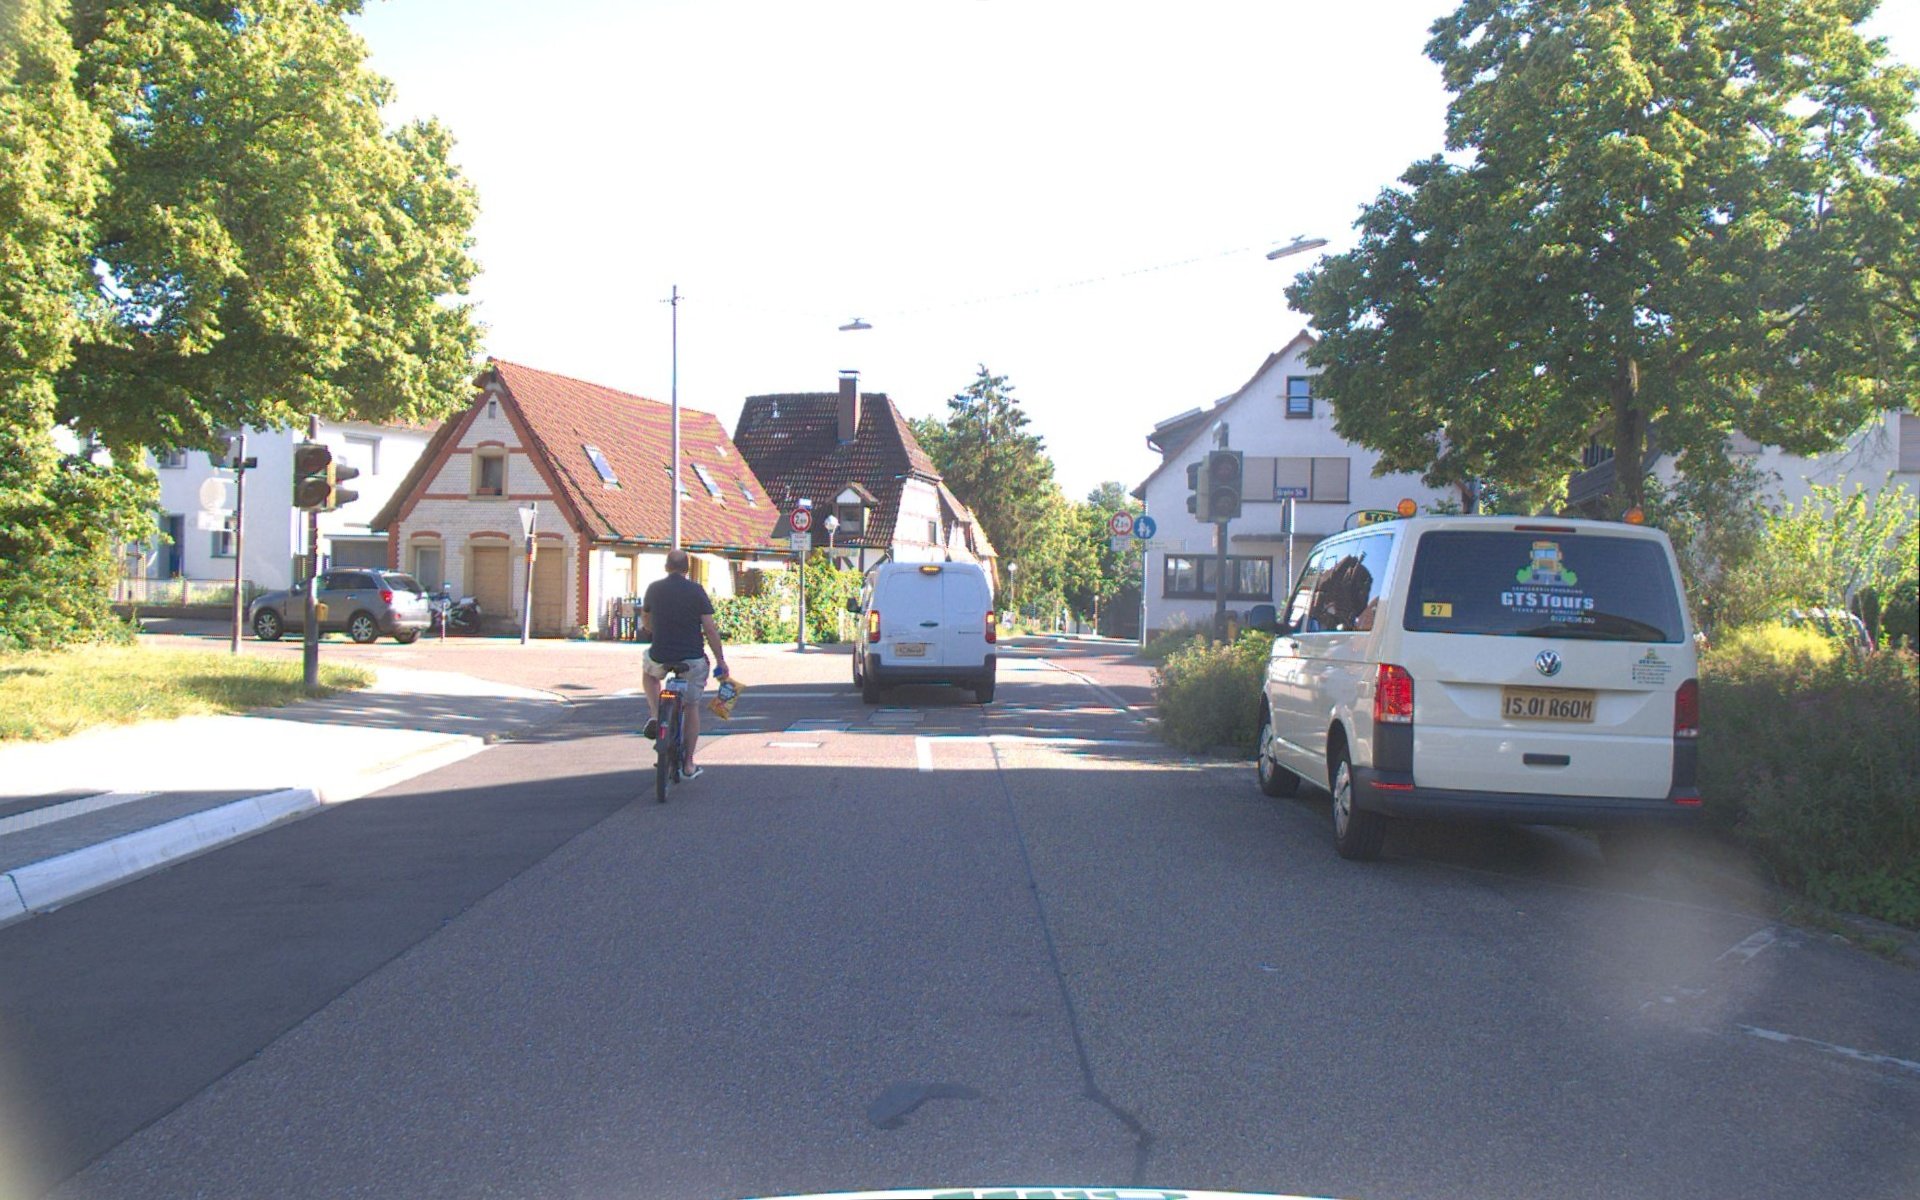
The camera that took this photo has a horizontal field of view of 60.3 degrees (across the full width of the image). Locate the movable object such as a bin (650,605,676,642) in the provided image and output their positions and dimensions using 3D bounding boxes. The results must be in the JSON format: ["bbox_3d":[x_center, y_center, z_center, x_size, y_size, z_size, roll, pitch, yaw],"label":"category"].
[{"bbox_3d":[-7.634,0.592,42.557,0.403,0.921,0.626,1,1,18],"label":"movable object such as a bin"}]

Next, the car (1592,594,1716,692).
[{"bbox_3d":[13.048,0.745,31.321,1.672,1.543,4.406,3,2,17],"label":"car"}]

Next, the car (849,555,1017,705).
[{"bbox_3d":[-0.485,0.330,23.184,1.920,1.880,4.554,0,1,-7],"label":"car"}]

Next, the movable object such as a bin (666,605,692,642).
[{"bbox_3d":[-7.216,0.602,42.429,0.402,0.941,0.626,1,1,18],"label":"movable object such as a bin"}]

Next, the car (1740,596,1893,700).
[{"bbox_3d":[15.701,0.813,30.541,1.672,1.578,4.406,3,2,17],"label":"car"}]

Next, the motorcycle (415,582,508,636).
[{"bbox_3d":[-12.926,0.216,42.906,2.195,1.317,0.883,1,3,19],"label":"motorcycle"}]

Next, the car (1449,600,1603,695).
[{"bbox_3d":[10.599,0.820,31.295,1.951,1.446,4.807,2,2,9],"label":"car"}]

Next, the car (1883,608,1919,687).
[{"bbox_3d":[18.325,0.931,30.104,1.610,1.373,4.117,3,2,15],"label":"car"}]

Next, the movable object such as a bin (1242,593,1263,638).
[{"bbox_3d":[7.686,0.408,43.446,0.515,1.142,0.749,1,1,9],"label":"movable object such as a bin"}]

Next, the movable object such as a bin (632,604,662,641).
[{"bbox_3d":[-8.080,0.573,42.735,0.497,0.941,0.626,1,1,18],"label":"movable object such as a bin"}]

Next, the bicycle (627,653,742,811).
[{"bbox_3d":[-2.006,0.918,12.237,0.760,0.956,2.287,0,1,-8],"label":"bicycle"}]

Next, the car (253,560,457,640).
[{"bbox_3d":[-14.398,0.013,39.458,4.131,1.755,1.947,2,-1,14],"label":"car"}]

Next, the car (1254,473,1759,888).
[{"bbox_3d":[3.271,0.424,10.974,1.952,2.115,4.579,2,0,2],"label":"car"}]

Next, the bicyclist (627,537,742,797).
[{"bbox_3d":[-2.012,0.466,12.169,0.750,1.820,0.851,-2,1,-8],"label":"bicyclist"}]

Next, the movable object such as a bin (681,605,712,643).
[{"bbox_3d":[-6.731,0.603,42.275,0.544,0.941,0.626,1,1,18],"label":"movable object such as a bin"}]
